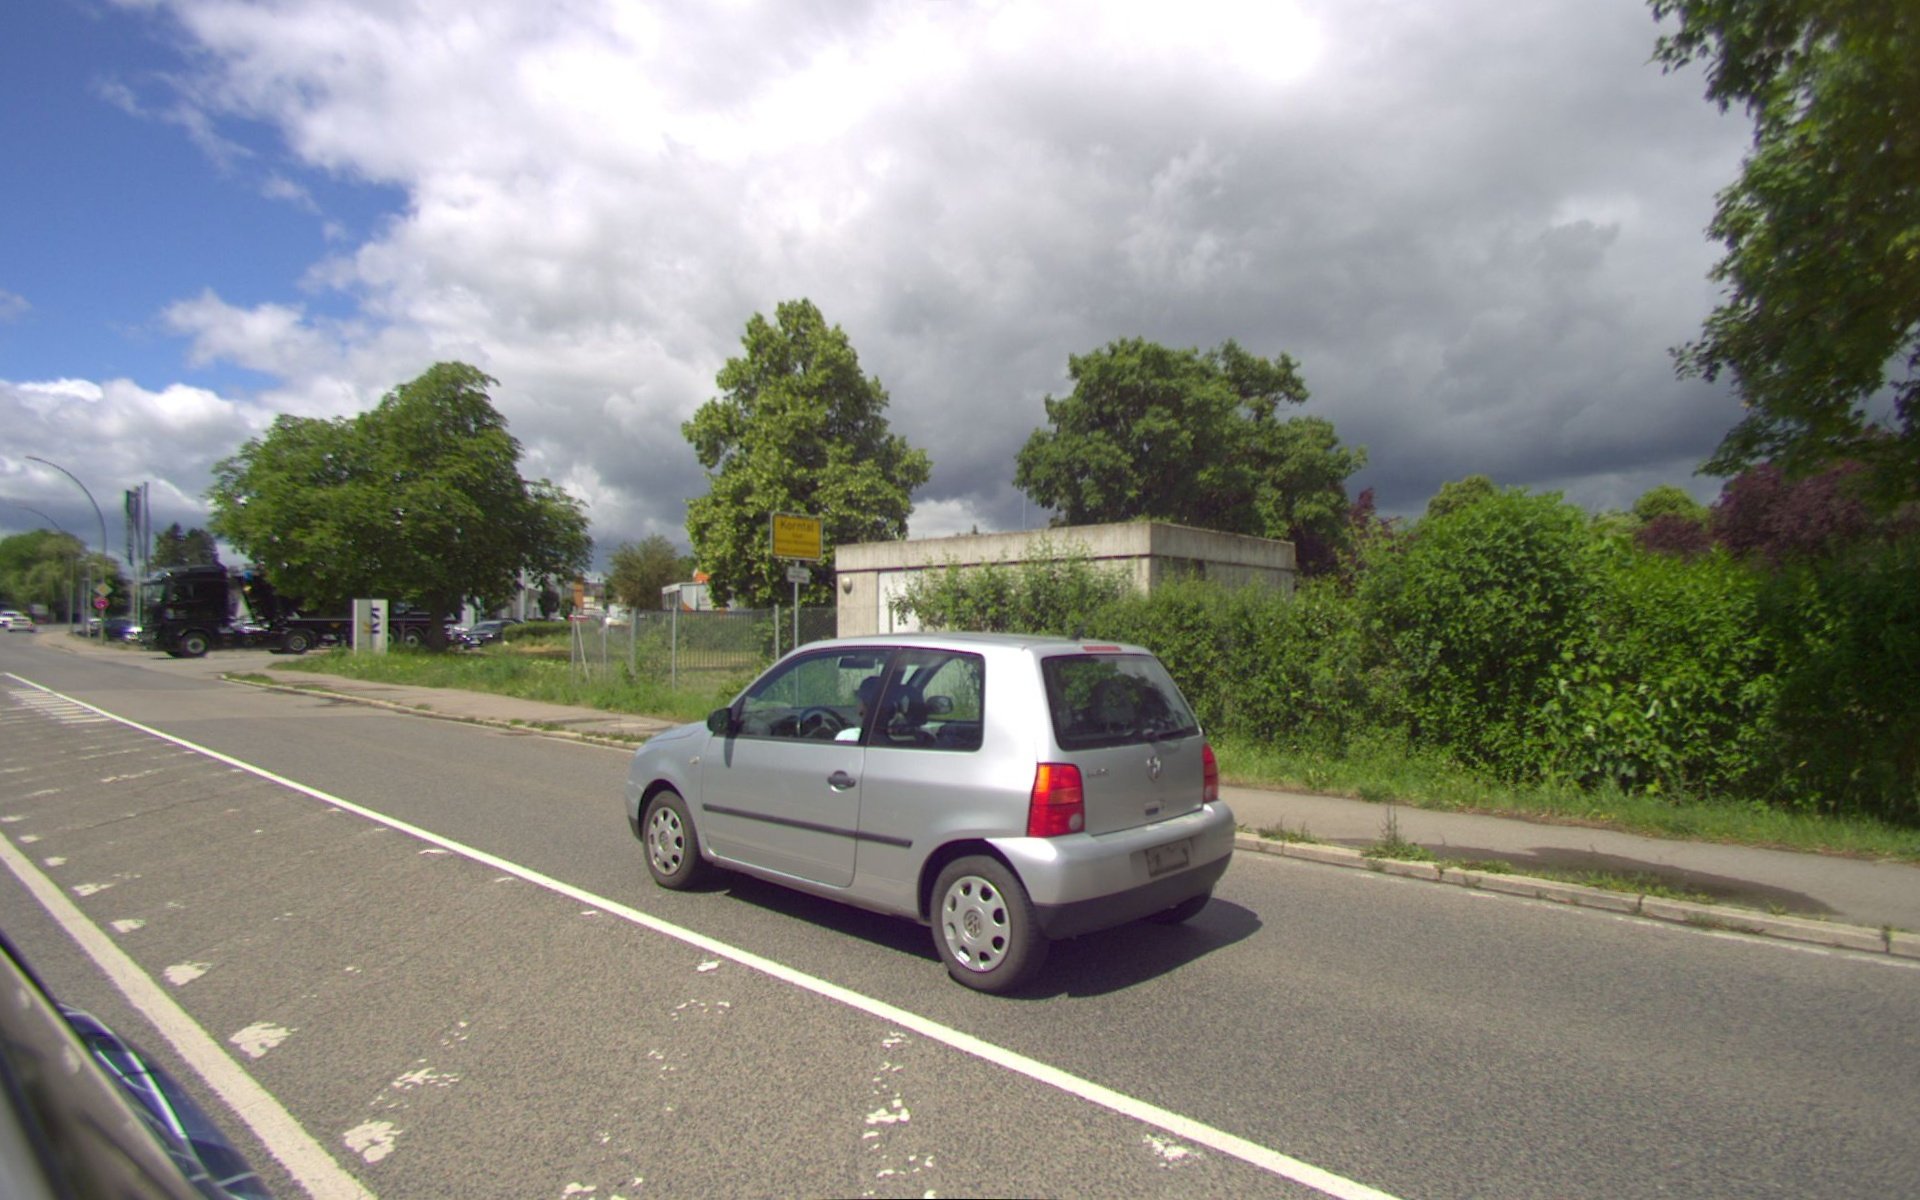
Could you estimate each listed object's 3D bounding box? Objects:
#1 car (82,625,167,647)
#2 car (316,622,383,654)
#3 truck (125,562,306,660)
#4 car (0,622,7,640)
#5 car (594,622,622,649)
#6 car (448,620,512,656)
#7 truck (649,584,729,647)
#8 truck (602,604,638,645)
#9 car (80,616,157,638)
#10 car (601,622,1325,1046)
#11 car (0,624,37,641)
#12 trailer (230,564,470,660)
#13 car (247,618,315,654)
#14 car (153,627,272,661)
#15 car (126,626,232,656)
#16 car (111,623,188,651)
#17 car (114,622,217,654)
[{"bbox_3d":[-63.458,2.726,76.924,4.561,1.637,2.066,0,-2,-10],"label":"car"},{"bbox_3d":[-32.307,1.982,53.493,4.765,1.614,1.777,-1,-4,44],"label":"car"},{"bbox_3d":[-31.435,0.542,42.906,2.980,3.853,5.501,-1,-2,38],"label":"truck"},{"bbox_3d":[-110.017,3.547,115.111,1.924,2.029,4.008,2,-3,-38],"label":"car"},{"bbox_3d":[-25.470,2.544,73.285,1.802,1.860,4.689,1,-2,-18],"label":"car"},{"bbox_3d":[-26.503,2.077,56.022,1.927,1.890,4.123,1,-2,-7],"label":"car"},{"bbox_3d":[-14.581,0.897,54.021,2.618,3.073,8.618,1,-2,-25],"label":"truck"},{"bbox_3d":[-29.935,2.197,89.318,2.406,3.449,7.842,1,-2,-15],"label":"truck"},{"bbox_3d":[-73.649,2.347,88.628,4.880,1.852,1.896,1,-2,-8],"label":"car"},{"bbox_3d":[-0.216,0.885,5.348,3.692,1.443,1.642,-2,-4,43],"label":"car"},{"bbox_3d":[-89.171,3.064,95.916,1.967,1.461,4.437,4,-3,-36],"label":"car"},{"bbox_3d":[-28.539,0.670,48.033,3.303,4.114,9.381,0,-2,27],"label":"trailer"},{"bbox_3d":[-34.677,1.804,51.624,4.601,1.734,1.909,-1,-2,44],"label":"car"},{"bbox_3d":[-38.779,2.276,52.656,1.972,1.617,4.714,1,-1,18],"label":"car"},{"bbox_3d":[-41.408,2.156,53.807,1.780,1.477,4.308,-2,-2,15],"label":"car"},{"bbox_3d":[-51.073,2.326,63.888,1.863,1.681,4.580,-1,-1,-10],"label":"car"},{"bbox_3d":[-44.052,2.086,56.223,1.917,1.690,4.282,0,-2,12],"label":"car"}]
